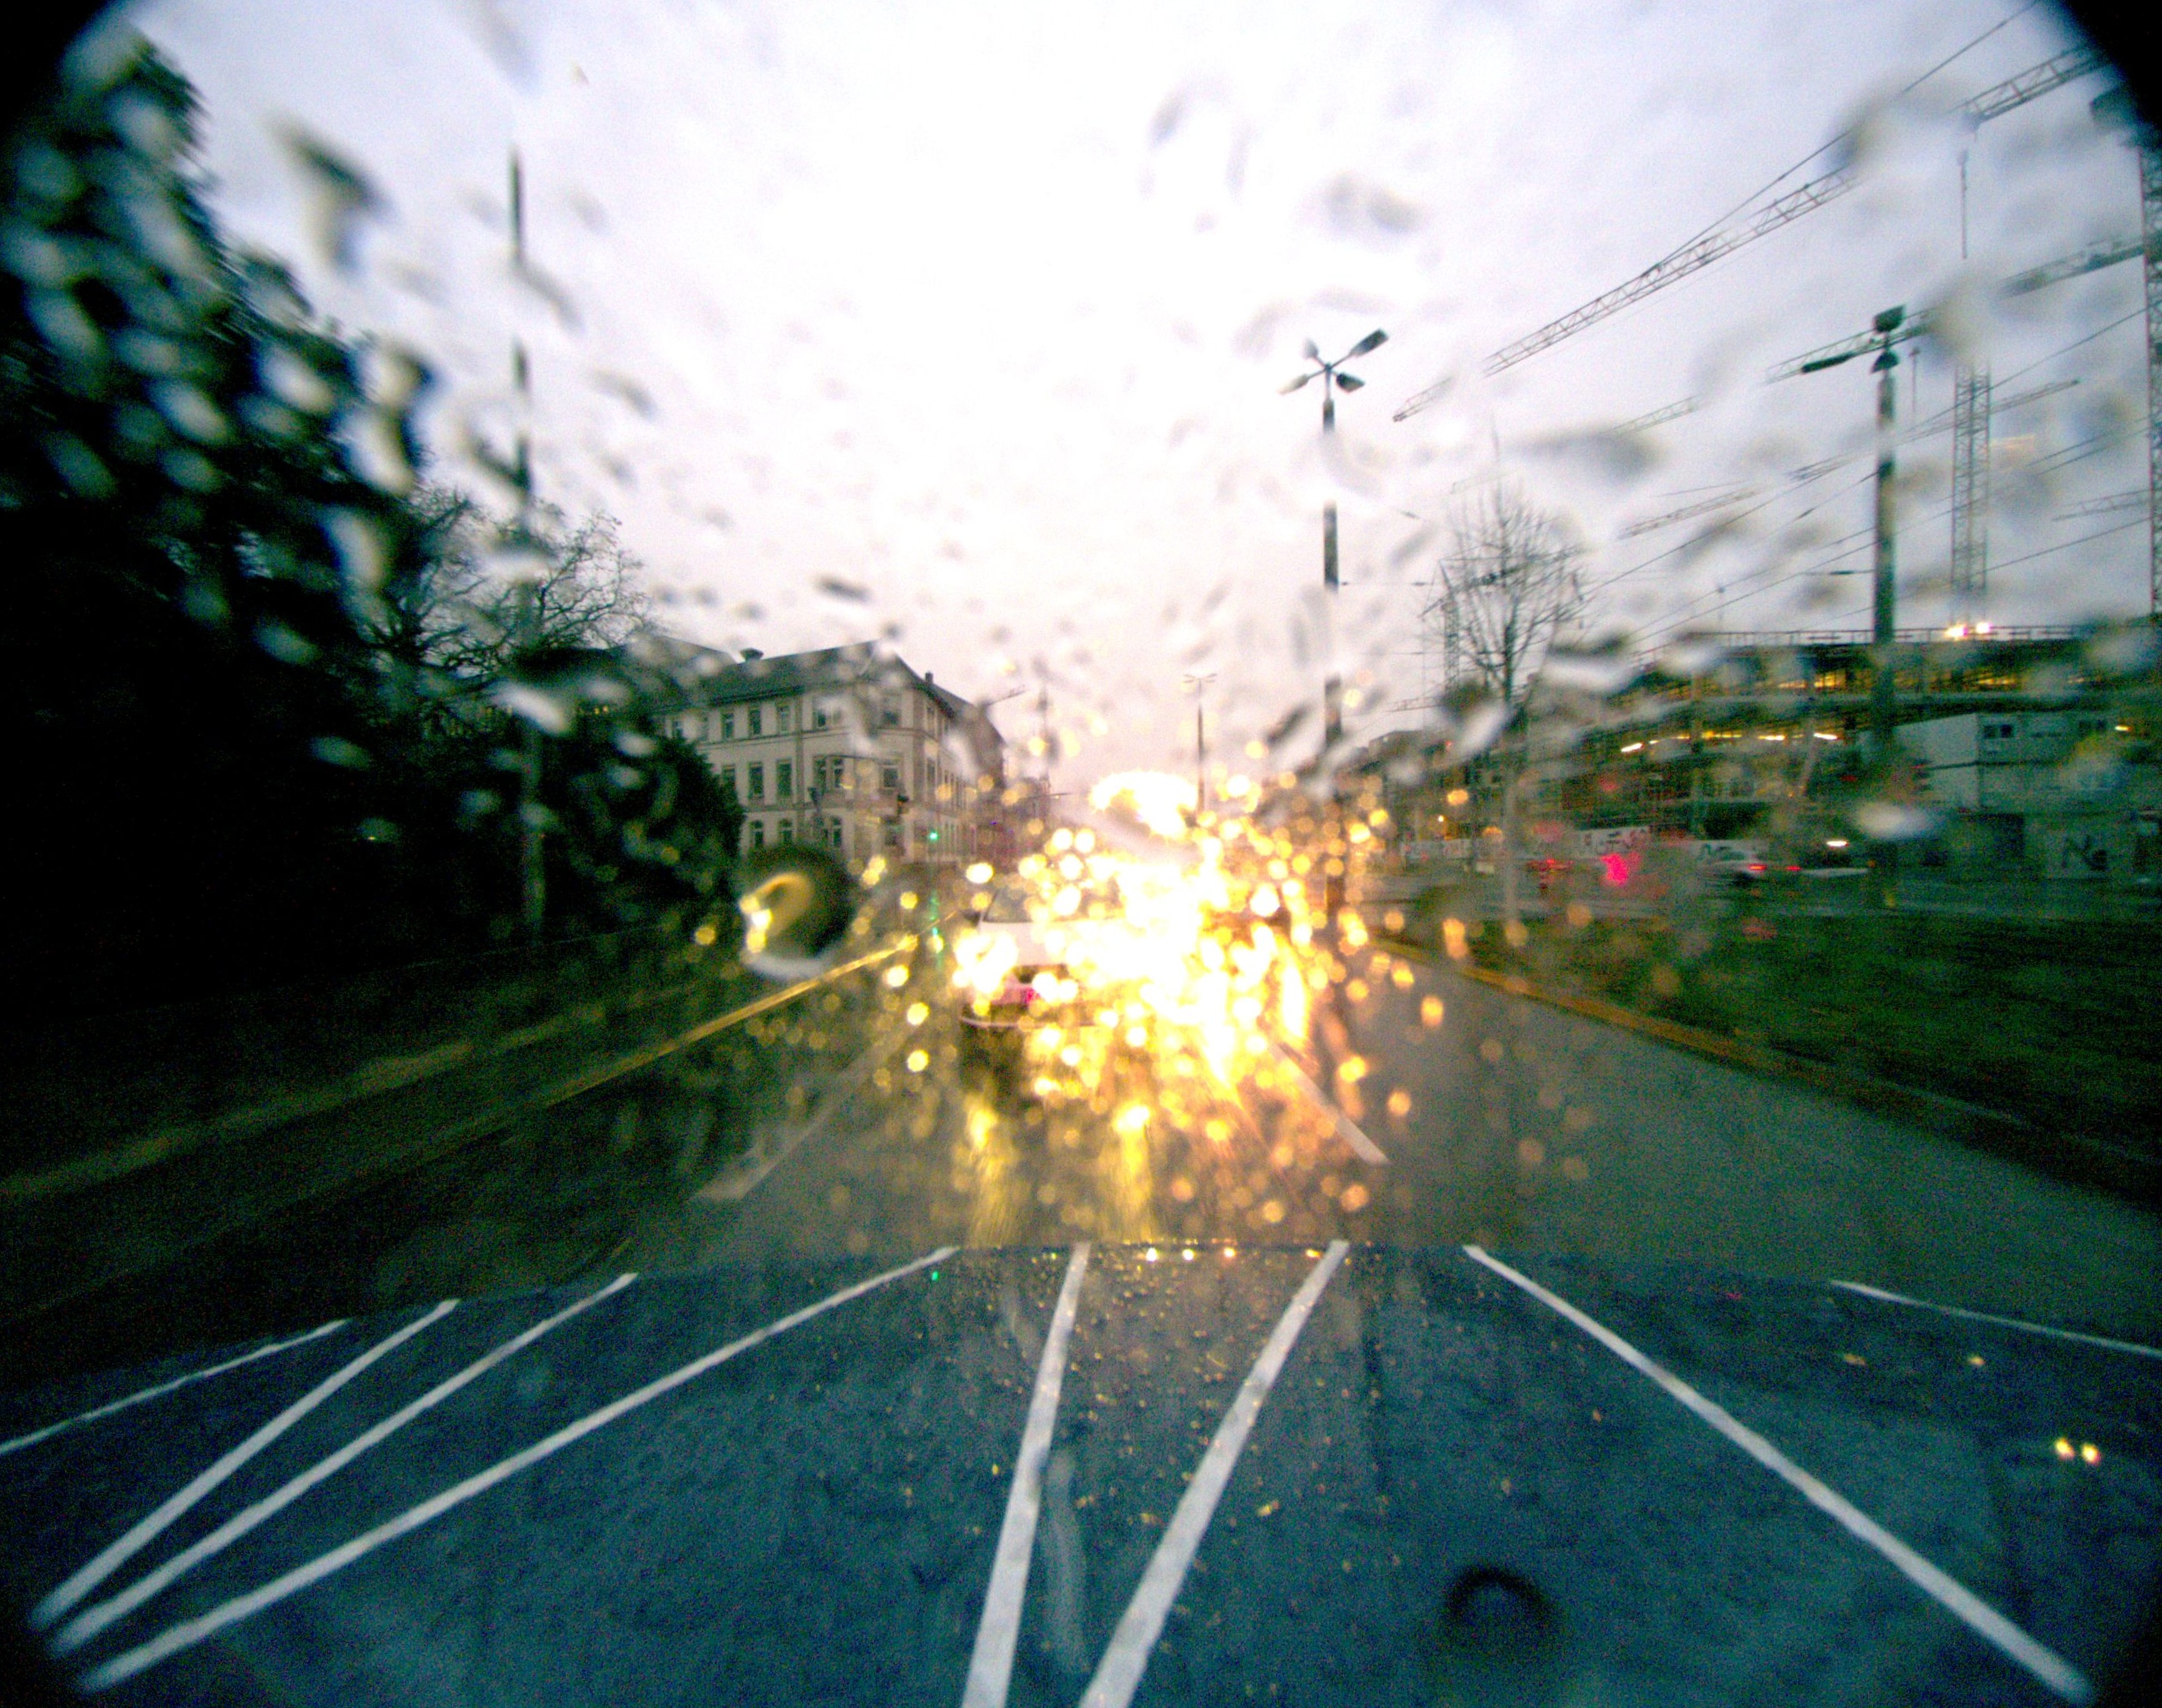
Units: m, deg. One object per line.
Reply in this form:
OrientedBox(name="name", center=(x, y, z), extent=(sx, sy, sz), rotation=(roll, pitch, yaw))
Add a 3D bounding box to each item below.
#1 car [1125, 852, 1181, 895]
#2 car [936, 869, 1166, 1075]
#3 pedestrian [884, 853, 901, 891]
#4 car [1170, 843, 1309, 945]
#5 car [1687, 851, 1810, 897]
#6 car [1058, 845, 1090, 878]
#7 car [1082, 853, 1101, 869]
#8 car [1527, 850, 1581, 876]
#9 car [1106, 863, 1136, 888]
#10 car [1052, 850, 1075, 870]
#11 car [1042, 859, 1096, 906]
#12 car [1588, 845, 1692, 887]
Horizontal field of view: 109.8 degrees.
OrientedBox(name="car", center=(3.007, 0.766, 32.521), extent=(1.844, 1.644, 4.323), rotation=(-2, 1, -1))
OrientedBox(name="car", center=(-0.278, 0.972, 7.999), extent=(1.764, 1.443, 3.999), rotation=(-2, 1, -1))
OrientedBox(name="pedestrian", center=(-9.519, 0.903, 38.432), extent=(0.676, 1.868, 0.714), rotation=(-3, 1, -22))
OrientedBox(name="car", center=(3.019, 0.680, 15.346), extent=(1.858, 1.723, 3.999), rotation=(-2, 1, -1))
OrientedBox(name="car", center=(29.218, 0.820, 33.448), extent=(1.886, 1.779, 4.176), rotation=(-2, 1, 3))
OrientedBox(name="car", center=(-0.464, 0.432, 47.790), extent=(1.858, 1.886, 3.999), rotation=(-2, 1, -1))
OrientedBox(name="car", center=(1.059, 0.677, 79.503), extent=(1.844, 1.547, 3.999), rotation=(-2, 1, 0))
OrientedBox(name="car", center=(32.160, 0.582, 51.768), extent=(1.884, 1.565, 4.003), rotation=(-2, 1, 12))
OrientedBox(name="car", center=(2.777, 1.496, 53.456), extent=(1.844, 1.547, 3.999), rotation=(-2, 1, 0))
OrientedBox(name="car", center=(-1.464, 0.462, 64.740), extent=(1.844, 1.547, 3.999), rotation=(-2, 1, 0))
OrientedBox(name="car", center=(-0.444, 0.965, 27.165), extent=(1.764, 1.443, 3.999), rotation=(-2, 1, -1))
OrientedBox(name="car", center=(26.012, 0.490, 35.573), extent=(1.885, 1.779, 4.600), rotation=(-2, 1, 8))
